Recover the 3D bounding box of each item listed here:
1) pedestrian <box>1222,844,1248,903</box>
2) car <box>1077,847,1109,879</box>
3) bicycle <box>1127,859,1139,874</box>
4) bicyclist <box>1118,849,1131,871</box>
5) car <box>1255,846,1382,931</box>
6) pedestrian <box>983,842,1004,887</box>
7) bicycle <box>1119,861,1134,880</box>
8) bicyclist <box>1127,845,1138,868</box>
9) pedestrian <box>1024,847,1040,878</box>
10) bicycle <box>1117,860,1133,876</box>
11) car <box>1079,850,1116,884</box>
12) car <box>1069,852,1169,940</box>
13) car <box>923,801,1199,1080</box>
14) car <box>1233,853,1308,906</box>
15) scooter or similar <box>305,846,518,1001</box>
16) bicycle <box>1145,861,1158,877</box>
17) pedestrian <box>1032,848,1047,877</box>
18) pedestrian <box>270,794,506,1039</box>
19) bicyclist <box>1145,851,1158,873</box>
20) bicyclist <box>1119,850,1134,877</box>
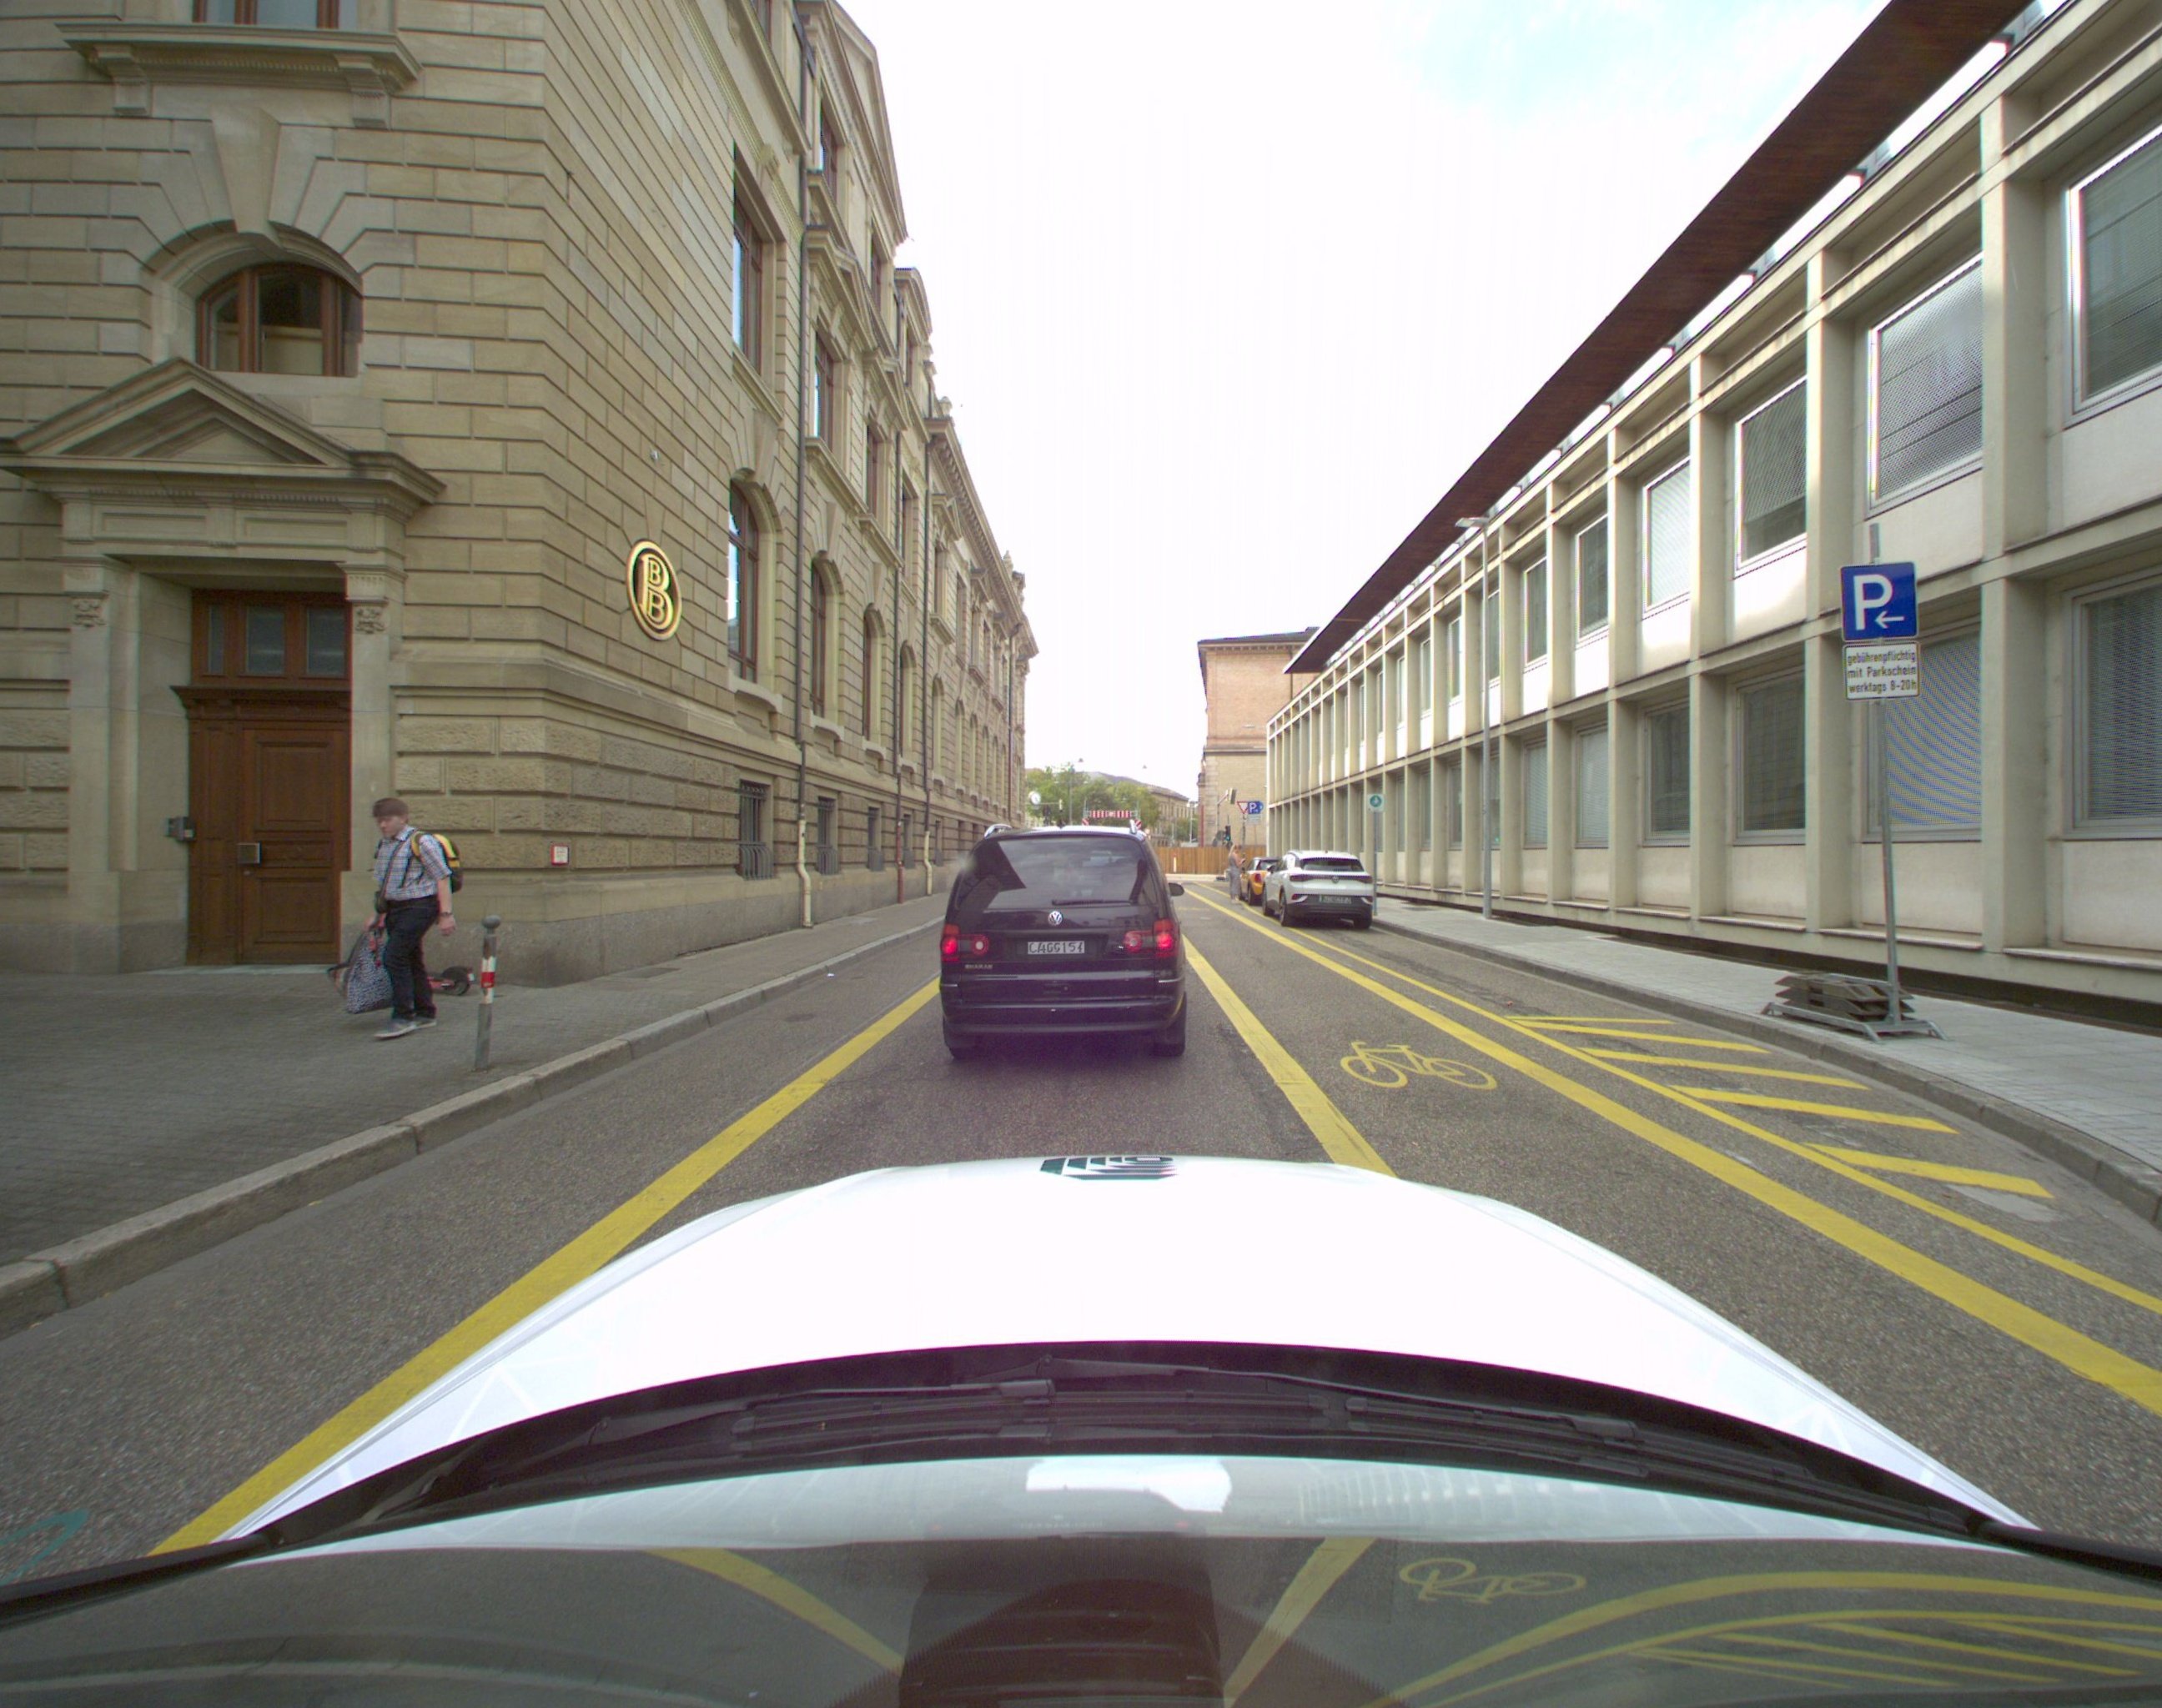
[{"bbox_3d":[4.676,0.574,24.714,0.694,1.764,0.706,0,-1,4],"label":"pedestrian"},{"bbox_3d":[0.663,0.527,47.411,1.729,1.790,4.101,0,0,-1],"label":"car"},{"bbox_3d":[3.543,0.821,55.713,0.732,1.009,2.069,0,-1,2],"label":"bicycle"},{"bbox_3d":[2.788,0.389,51.817,0.734,1.377,0.827,0,-1,-5],"label":"bicyclist"},{"bbox_3d":[5.232,0.709,18.524,1.851,1.605,4.518,3,0,5],"label":"car"},{"bbox_3d":[-3.585,0.419,33.346,0.661,1.819,1.048,1,-1,2],"label":"pedestrian"},{"bbox_3d":[2.448,0.890,43.889,0.732,1.009,2.069,0,-1,2],"label":"bicycle"},{"bbox_3d":[3.513,0.175,55.662,0.732,1.555,0.896,0,-1,1],"label":"bicyclist"},{"bbox_3d":[-2.910,0.504,48.209,0.789,1.819,1.048,1,-1,2],"label":"pedestrian"},{"bbox_3d":[2.789,0.866,51.864,0.733,1.009,2.066,0,-1,-3],"label":"bicycle"},{"bbox_3d":[0.842,0.641,40.396,1.766,1.586,4.001,0,-1,2],"label":"car"},{"bbox_3d":[0.803,0.710,15.738,1.670,1.469,4.108,0,0,5],"label":"car"},{"bbox_3d":[0.028,0.577,7.331,1.781,1.790,4.108,-1,0,5],"label":"car"},{"bbox_3d":[5.757,0.744,25.139,1.672,1.435,3.891,3,0,5],"label":"car"},{"bbox_3d":[-6.181,0.616,7.567,1.441,1.310,0.587,3,1,0],"label":"scooter or similar"},{"bbox_3d":[4.432,0.937,51.328,0.732,1.009,2.069,0,-1,2],"label":"bicycle"},{"bbox_3d":[-2.624,0.520,51.254,0.789,1.819,1.048,1,-1,2],"label":"pedestrian"},{"bbox_3d":[-5.259,0.450,6.249,1.022,1.720,0.819,2,-1,1],"label":"pedestrian"},{"bbox_3d":[4.431,0.487,51.317,0.732,1.375,0.832,0,-1,1],"label":"bicyclist"},{"bbox_3d":[2.444,0.508,43.850,0.732,1.478,0.885,0,-1,1],"label":"bicyclist"}]
